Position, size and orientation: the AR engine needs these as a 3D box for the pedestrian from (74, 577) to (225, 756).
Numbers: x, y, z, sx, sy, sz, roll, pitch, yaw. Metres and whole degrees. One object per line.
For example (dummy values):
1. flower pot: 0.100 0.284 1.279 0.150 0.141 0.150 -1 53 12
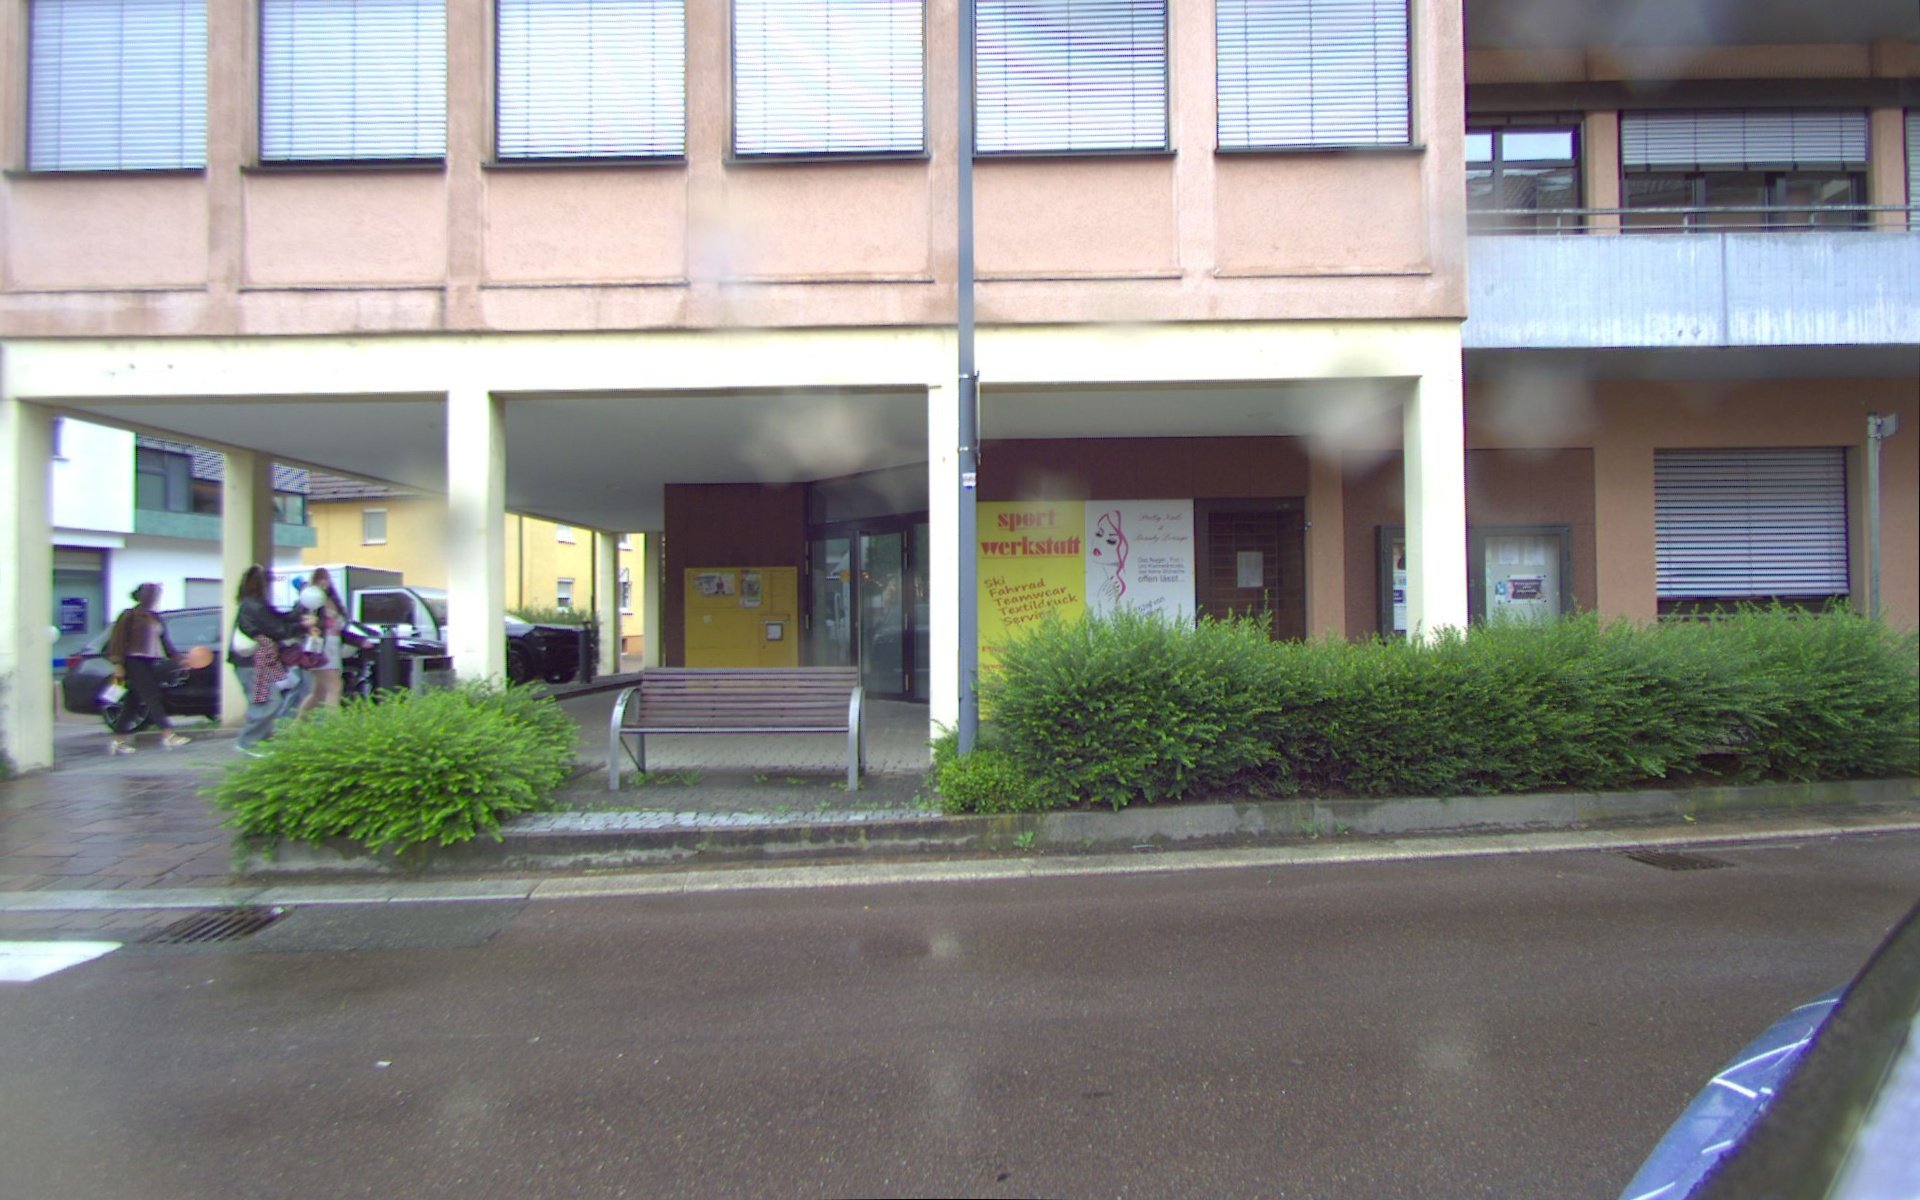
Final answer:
1. pedestrian: -7.701 0.598 9.651 0.811 1.624 0.744 0 2 7

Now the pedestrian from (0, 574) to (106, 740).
1. pedestrian: -9.731 0.589 10.783 0.729 1.711 0.635 -1 -1 3

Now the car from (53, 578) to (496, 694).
1. car: -8.364 0.421 12.597 4.389 1.292 1.767 -1 0 3

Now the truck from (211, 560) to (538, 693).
1. truck: -8.651 0.377 15.173 3.926 1.831 1.767 -1 0 2

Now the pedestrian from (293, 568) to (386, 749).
1. pedestrian: -6.121 0.547 10.022 0.718 1.711 0.726 -1 -1 -27

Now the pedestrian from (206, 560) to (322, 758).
1. pedestrian: -6.248 0.500 9.126 0.805 1.682 0.699 -1 -1 -31
